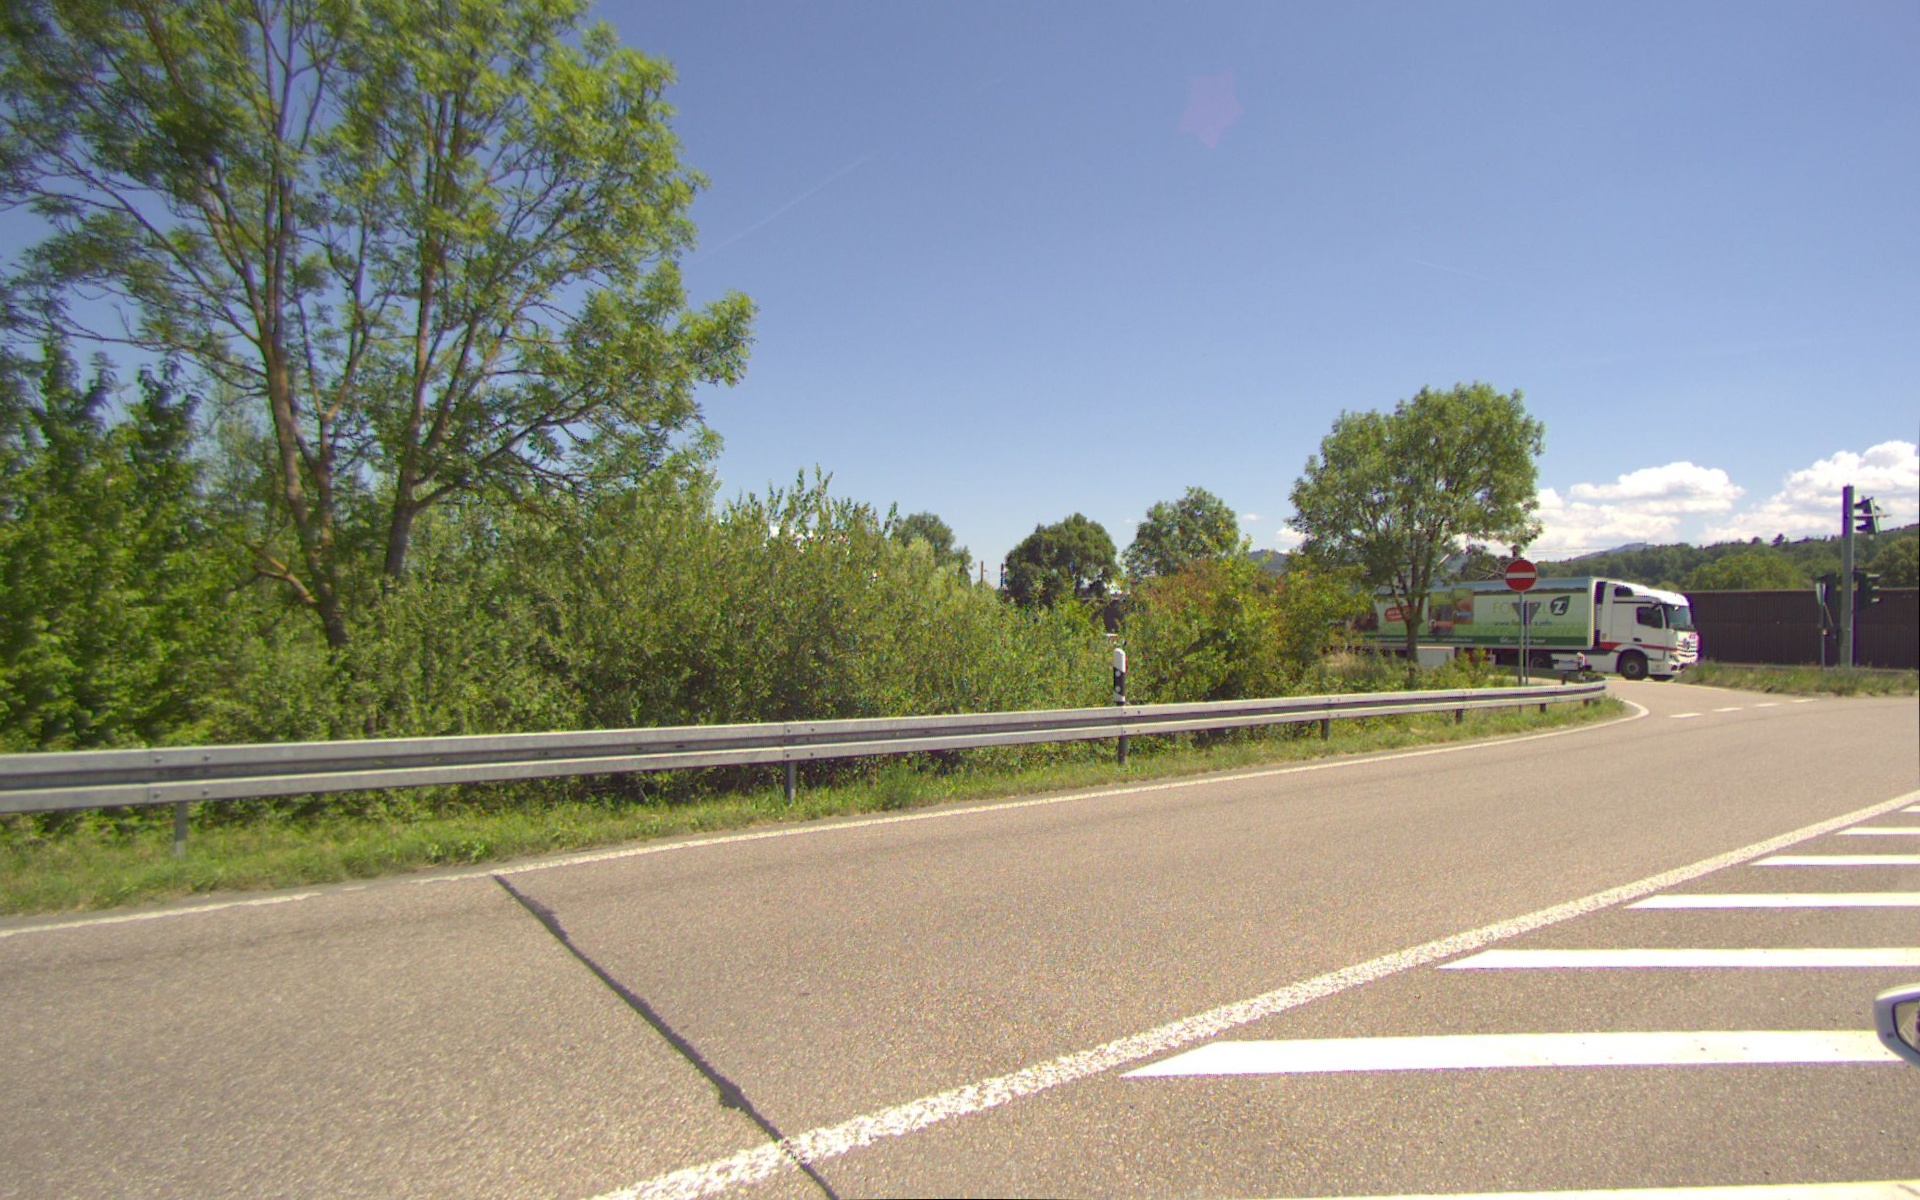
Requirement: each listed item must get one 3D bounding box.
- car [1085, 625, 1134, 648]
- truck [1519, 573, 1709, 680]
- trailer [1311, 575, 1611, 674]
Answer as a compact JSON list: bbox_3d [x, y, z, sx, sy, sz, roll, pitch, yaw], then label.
[{"bbox_3d":[10.359,2.521,69.672,1.537,1.484,3.455,2,-1,-31],"label":"car"},{"bbox_3d":[26.515,1.041,40.954,3.027,4.007,5.736,2,-1,-31],"label":"truck"},{"bbox_3d":[22.819,1.047,47.187,3.027,4.007,13.074,2,-1,-31],"label":"trailer"}]
